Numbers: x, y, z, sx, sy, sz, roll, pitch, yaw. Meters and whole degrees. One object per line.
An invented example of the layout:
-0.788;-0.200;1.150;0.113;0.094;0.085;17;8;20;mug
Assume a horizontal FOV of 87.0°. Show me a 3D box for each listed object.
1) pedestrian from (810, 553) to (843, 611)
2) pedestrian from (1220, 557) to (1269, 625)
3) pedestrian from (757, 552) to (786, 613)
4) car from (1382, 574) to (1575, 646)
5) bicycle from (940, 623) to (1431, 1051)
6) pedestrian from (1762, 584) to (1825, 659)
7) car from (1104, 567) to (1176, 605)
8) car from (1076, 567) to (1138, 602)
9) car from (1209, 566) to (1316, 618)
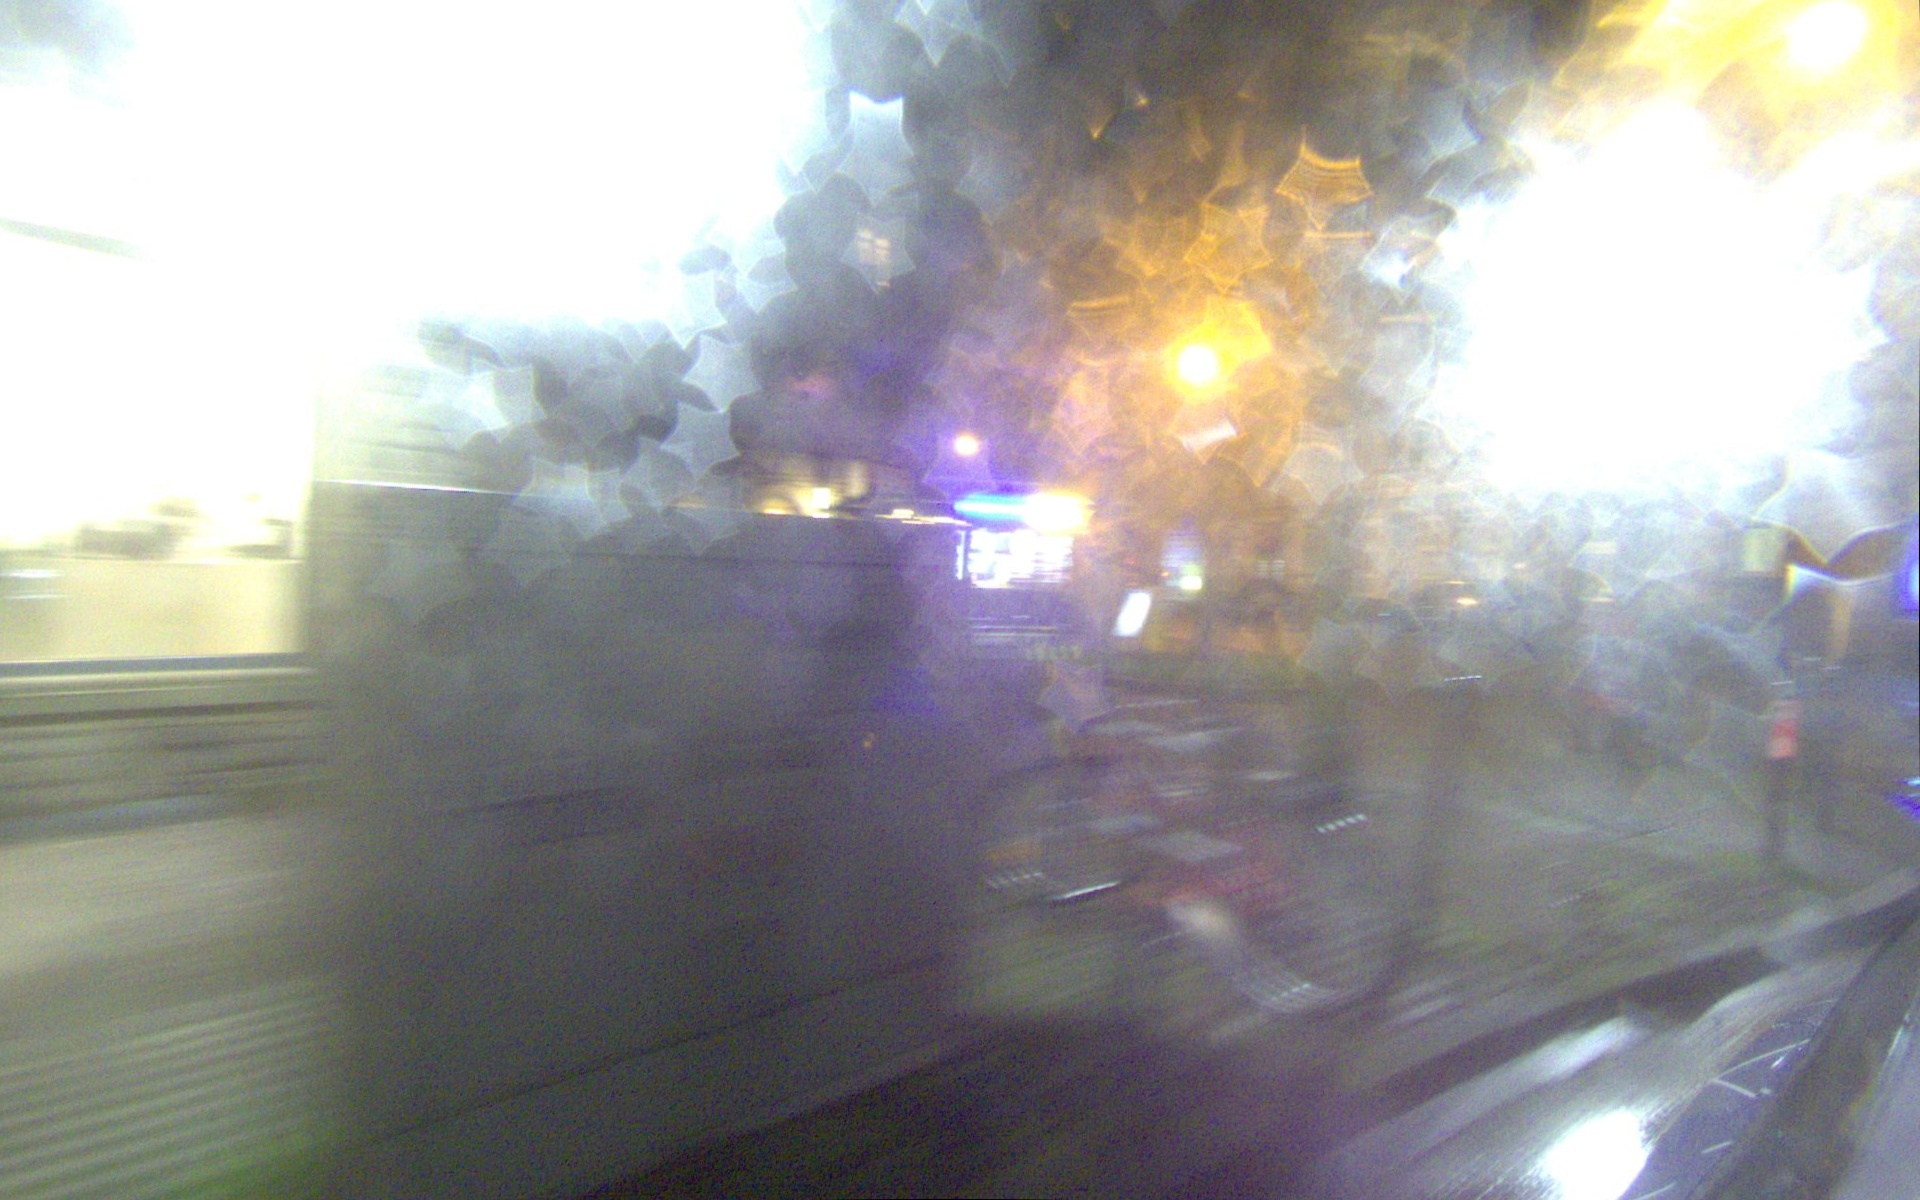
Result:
-3.849;-0.527;29.224;0.681;1.637;0.737;0;0;-35;pedestrian
7.685;-0.240;27.373;1.021;1.786;0.691;2;-1;-22;pedestrian
-5.157;-0.484;27.711;0.737;1.637;0.578;0;0;-4;pedestrian
13.084;0.186;25.912;1.849;1.613;4.507;0;2;-14;car
0.727;0.696;3.602;1.617;1.094;0.557;3;4;39;bicycle
17.156;0.438;20.841;0.621;1.512;0.769;0;0;-12;pedestrian
8.101;-0.656;45.970;1.729;1.614;4.216;0;2;-12;car
7.238;-0.791;50.131;1.713;1.629;3.959;0;2;-12;car
10.728;-0.341;36.233;1.842;1.724;4.296;0;2;-12;car
